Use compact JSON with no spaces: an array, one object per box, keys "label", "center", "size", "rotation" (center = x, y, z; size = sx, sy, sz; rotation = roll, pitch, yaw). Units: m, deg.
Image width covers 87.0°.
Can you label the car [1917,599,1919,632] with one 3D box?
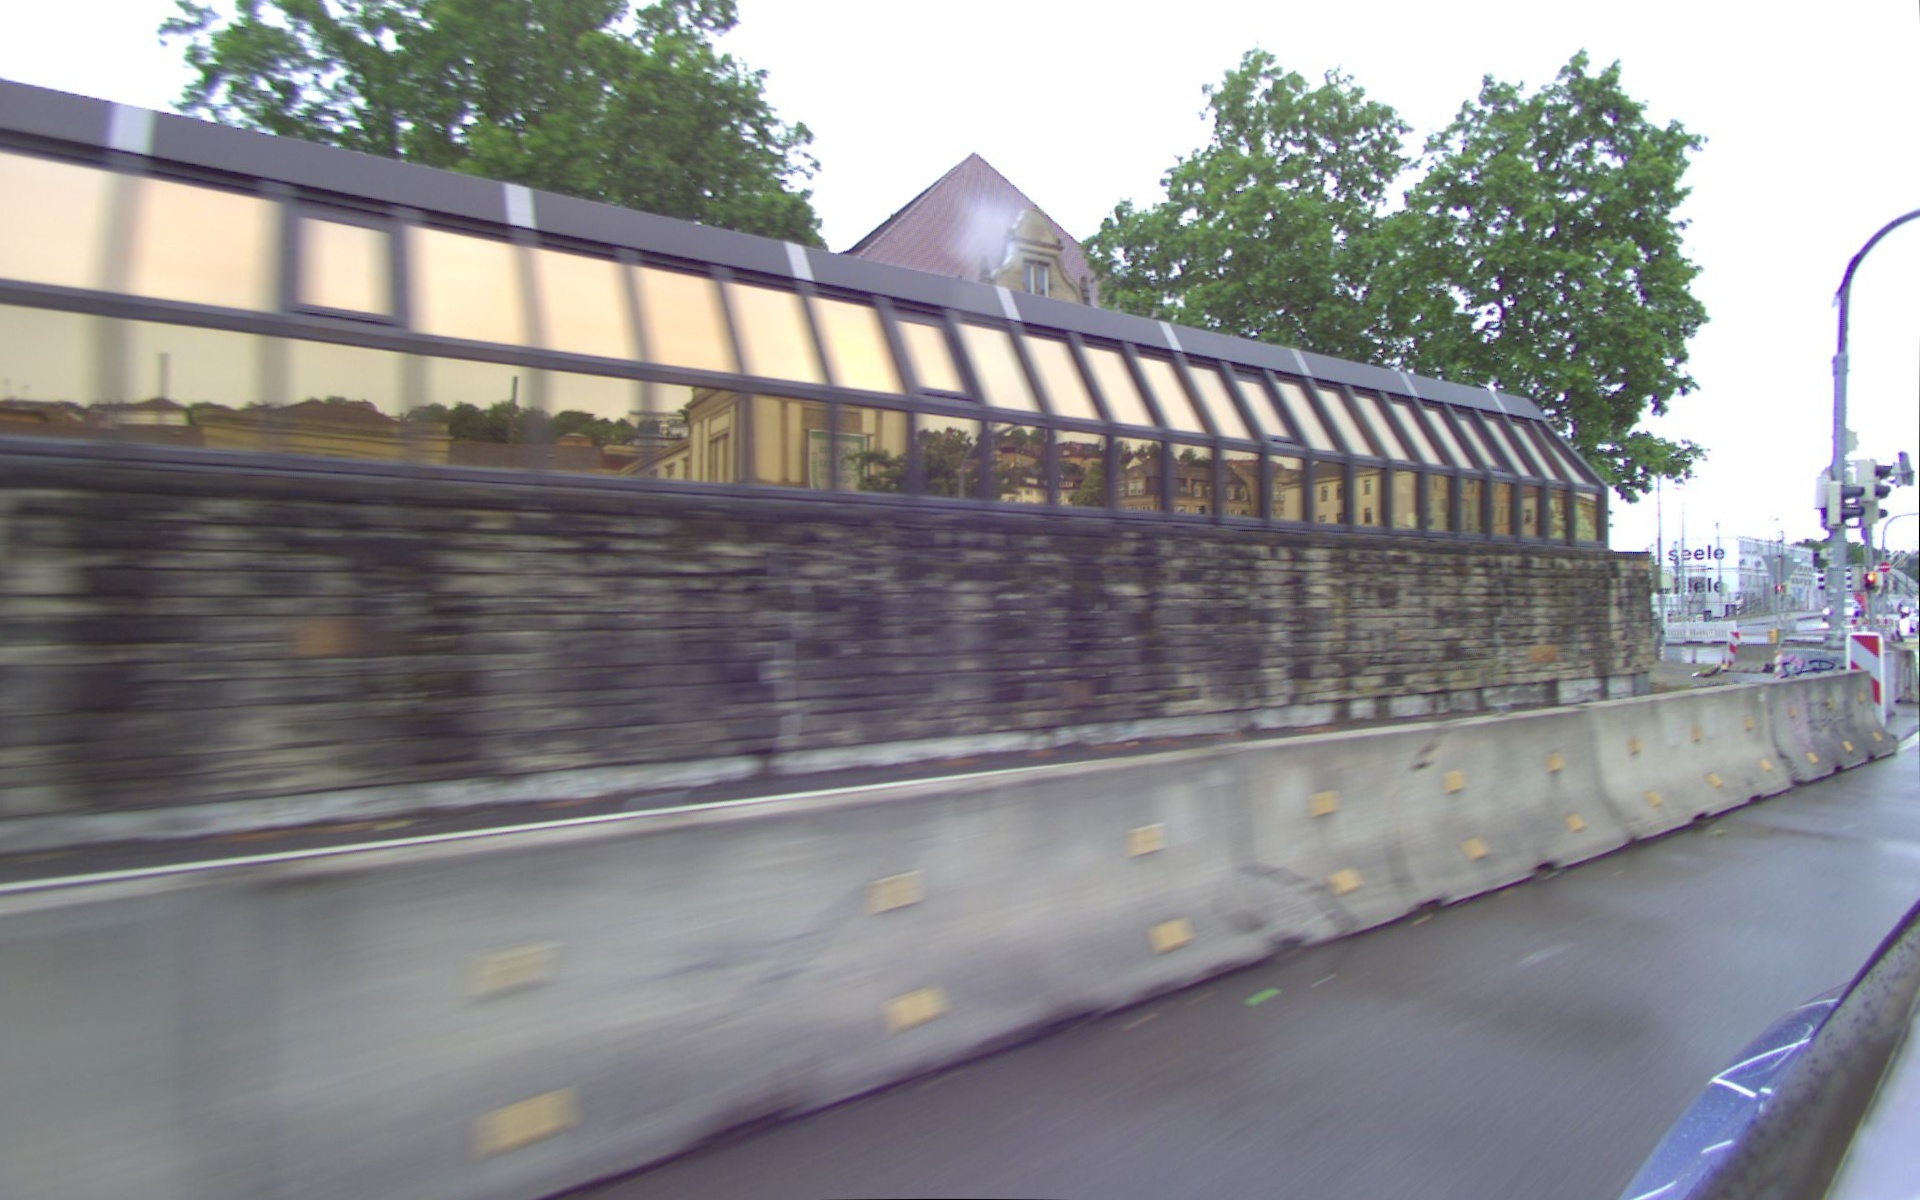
[{"label":"car","center":[57.975,0.881,59.221],"size":[1.985,2.040,4.369],"rotation":[-3,-2,33]}]

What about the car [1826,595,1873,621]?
[{"label":"car","center":[64.446,0.588,73.310],"size":[4.282,1.795,1.995],"rotation":[0,-3,-42]}]

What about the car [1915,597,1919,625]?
[{"label":"car","center":[63.159,0.649,65.253],"size":[1.991,1.795,4.292],"rotation":[-4,-3,41]}]
